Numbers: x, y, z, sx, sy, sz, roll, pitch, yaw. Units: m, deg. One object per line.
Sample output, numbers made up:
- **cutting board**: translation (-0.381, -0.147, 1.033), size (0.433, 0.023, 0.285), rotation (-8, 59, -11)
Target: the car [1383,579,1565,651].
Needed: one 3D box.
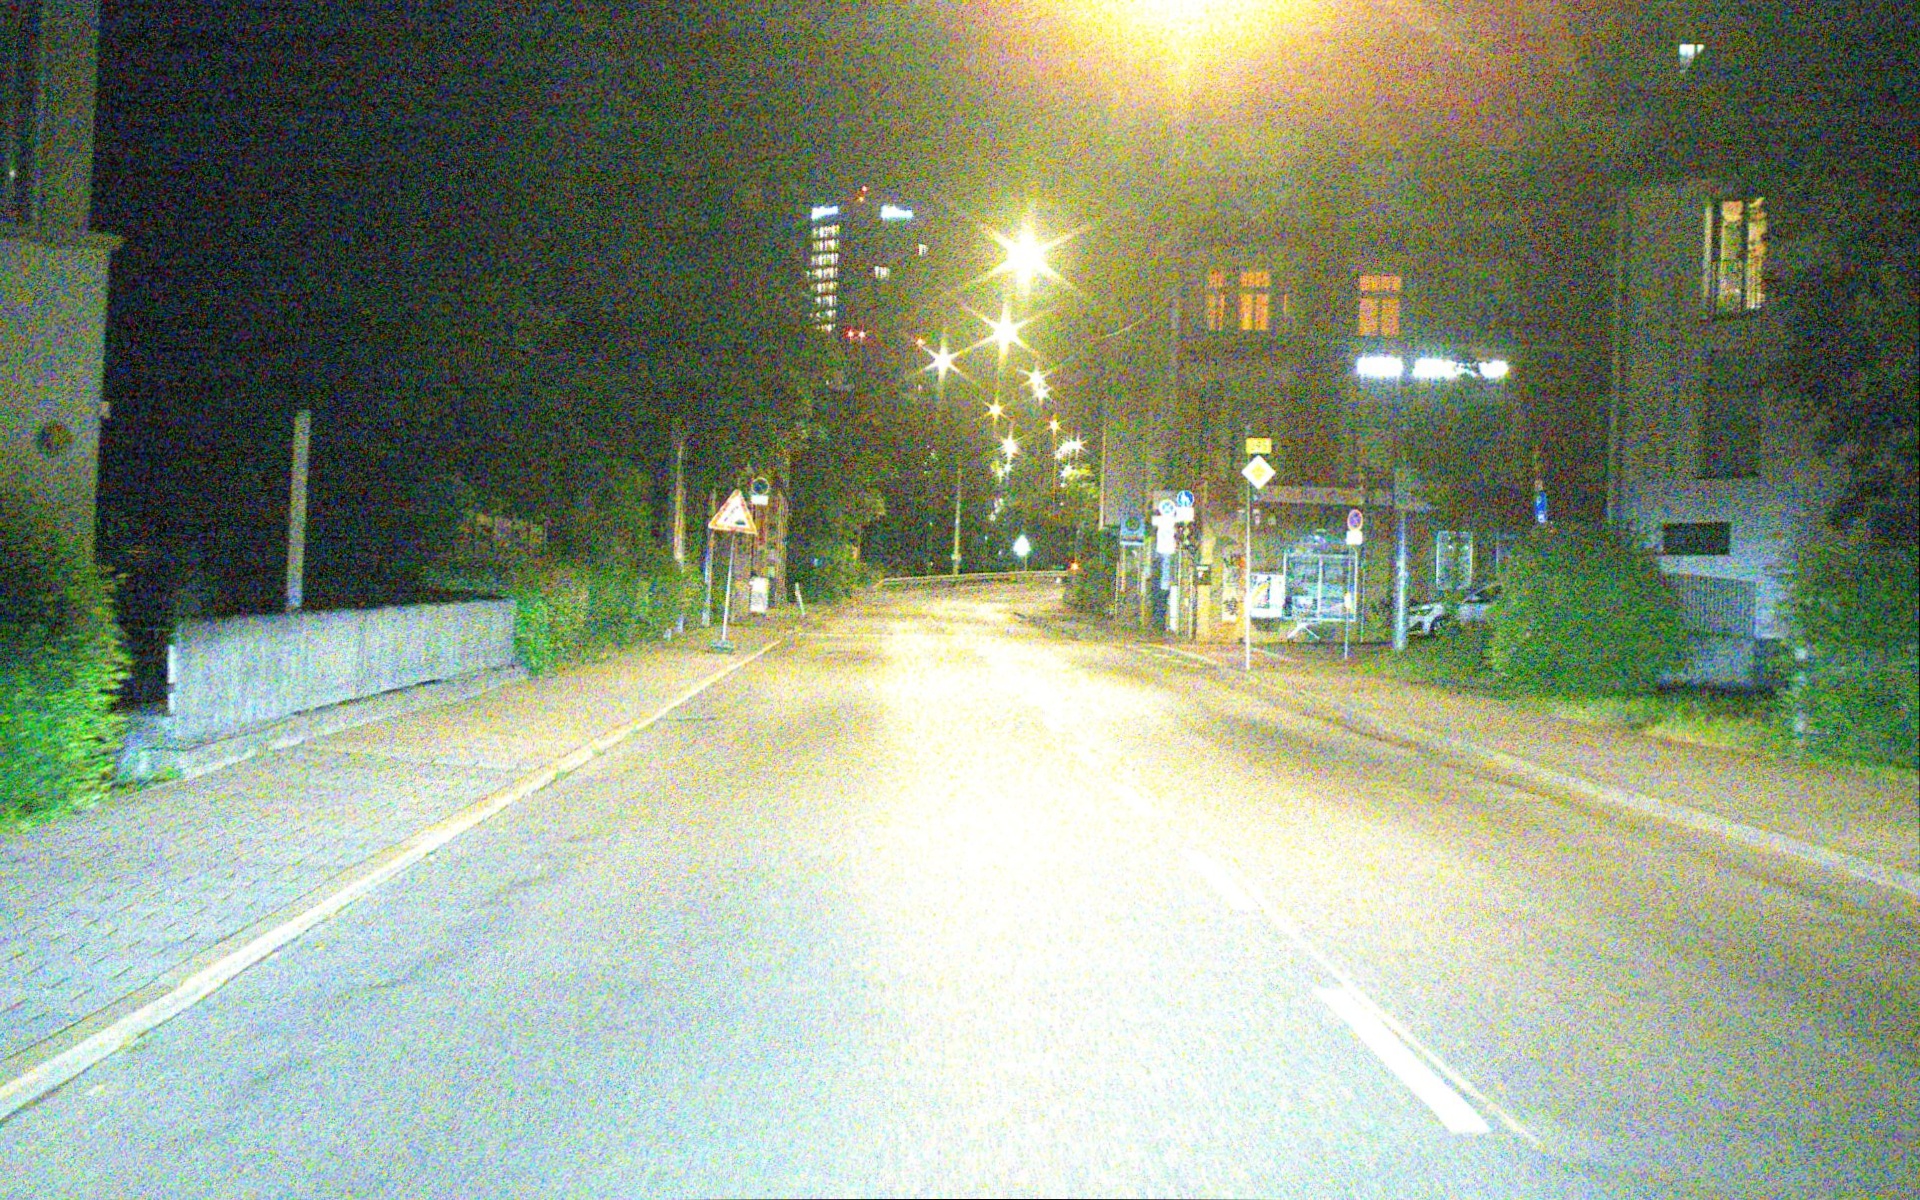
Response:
- **car**: translation (11.869, 0.340, 79.562), size (3.837, 1.539, 1.809), rotation (1, 0, -3)

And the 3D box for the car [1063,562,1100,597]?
- **car**: translation (6.993, -1.162, 198.342), size (1.924, 1.848, 4.000), rotation (1, -1, 0)
